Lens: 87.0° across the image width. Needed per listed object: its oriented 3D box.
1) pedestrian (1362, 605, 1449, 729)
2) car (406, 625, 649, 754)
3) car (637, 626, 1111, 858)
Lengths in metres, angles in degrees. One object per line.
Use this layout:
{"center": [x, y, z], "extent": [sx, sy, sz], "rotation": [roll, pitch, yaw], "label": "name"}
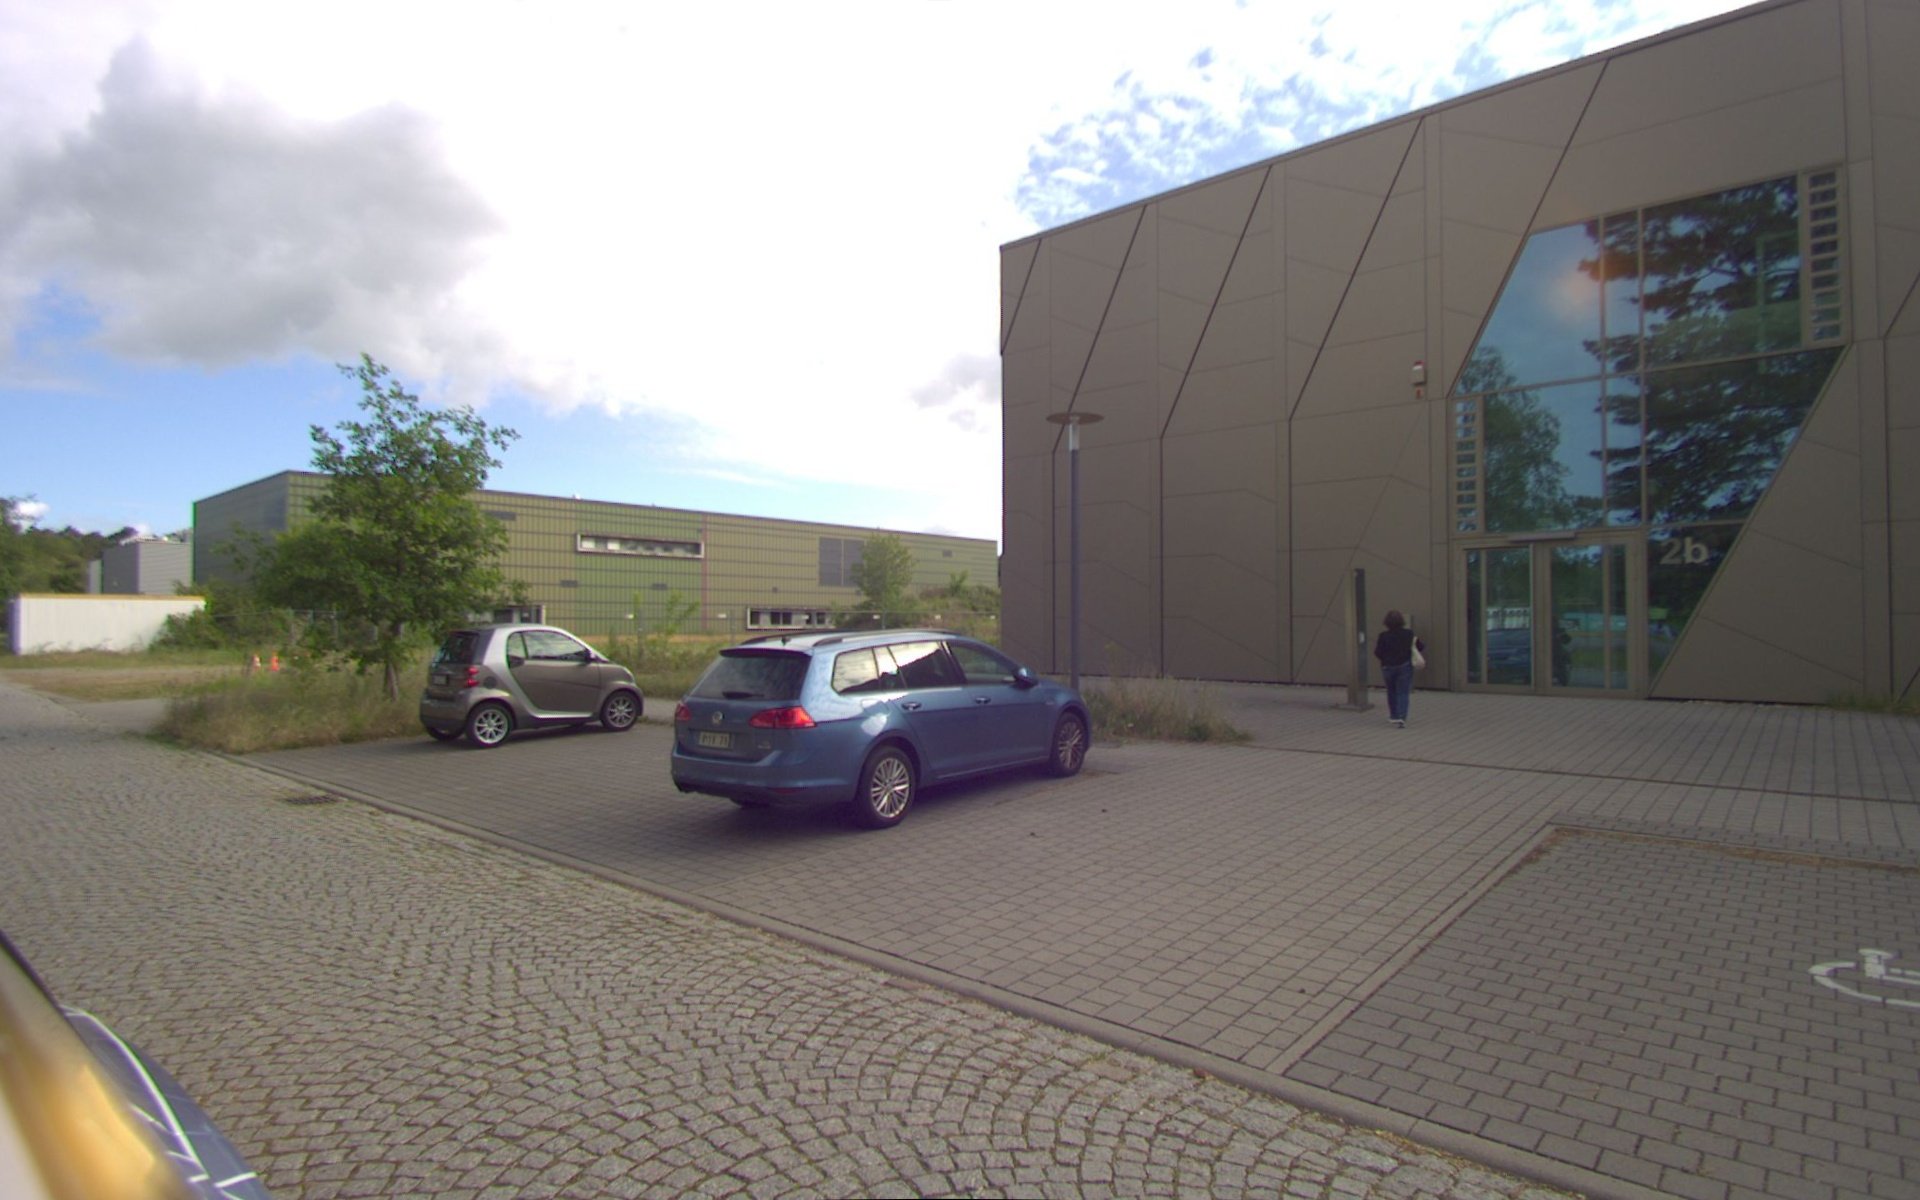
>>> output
{"center": [5.667, 0.823, 12.926], "extent": [0.810, 1.506, 0.983], "rotation": [0, 0, 12], "label": "pedestrian"}
{"center": [-5.886, 1.135, 13.903], "extent": [1.609, 1.523, 2.627], "rotation": [-2, -1, 40], "label": "car"}
{"center": [-0.498, 1.008, 8.978], "extent": [1.771, 1.439, 4.264], "rotation": [-2, -1, 38], "label": "car"}
